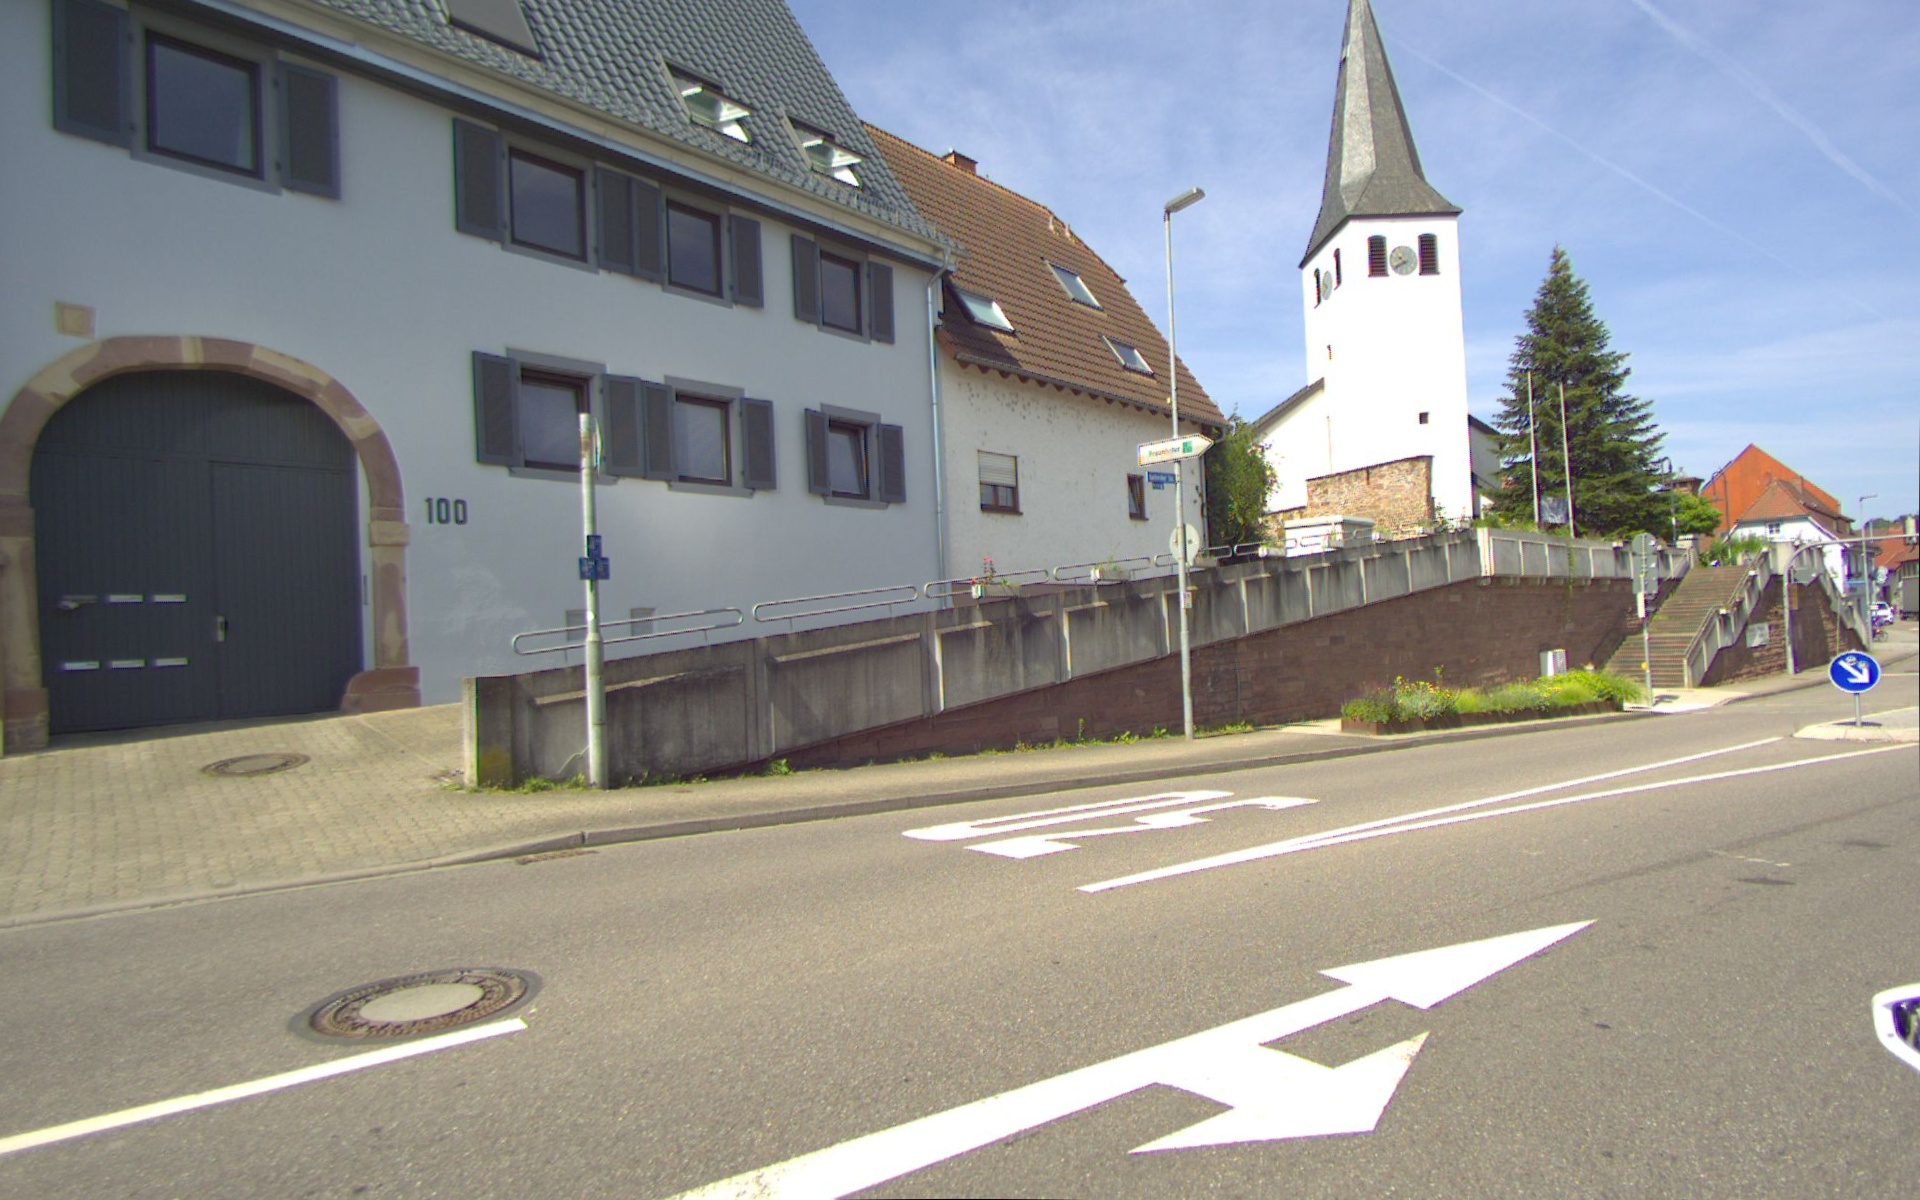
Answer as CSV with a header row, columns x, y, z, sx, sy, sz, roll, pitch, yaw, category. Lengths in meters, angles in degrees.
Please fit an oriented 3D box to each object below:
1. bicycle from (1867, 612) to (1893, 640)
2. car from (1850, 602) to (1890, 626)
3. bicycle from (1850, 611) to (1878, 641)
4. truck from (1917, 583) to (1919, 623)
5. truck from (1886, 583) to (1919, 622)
x,y,z,sx,sy,sz,roll,pitch,yaw,category
55.534,1.566,60.601,2.535,1.629,0.554,0,0,-33,bicycle
81.964,1.234,90.550,2.111,1.992,5.256,-4,-3,37,car
55.944,1.572,62.151,2.641,1.803,0.637,0,0,-33,bicycle
85.032,0.262,85.582,3.177,3.596,9.208,-1,0,31,truck
90.200,0.324,94.135,3.115,3.506,10.686,0,-1,32,truck
